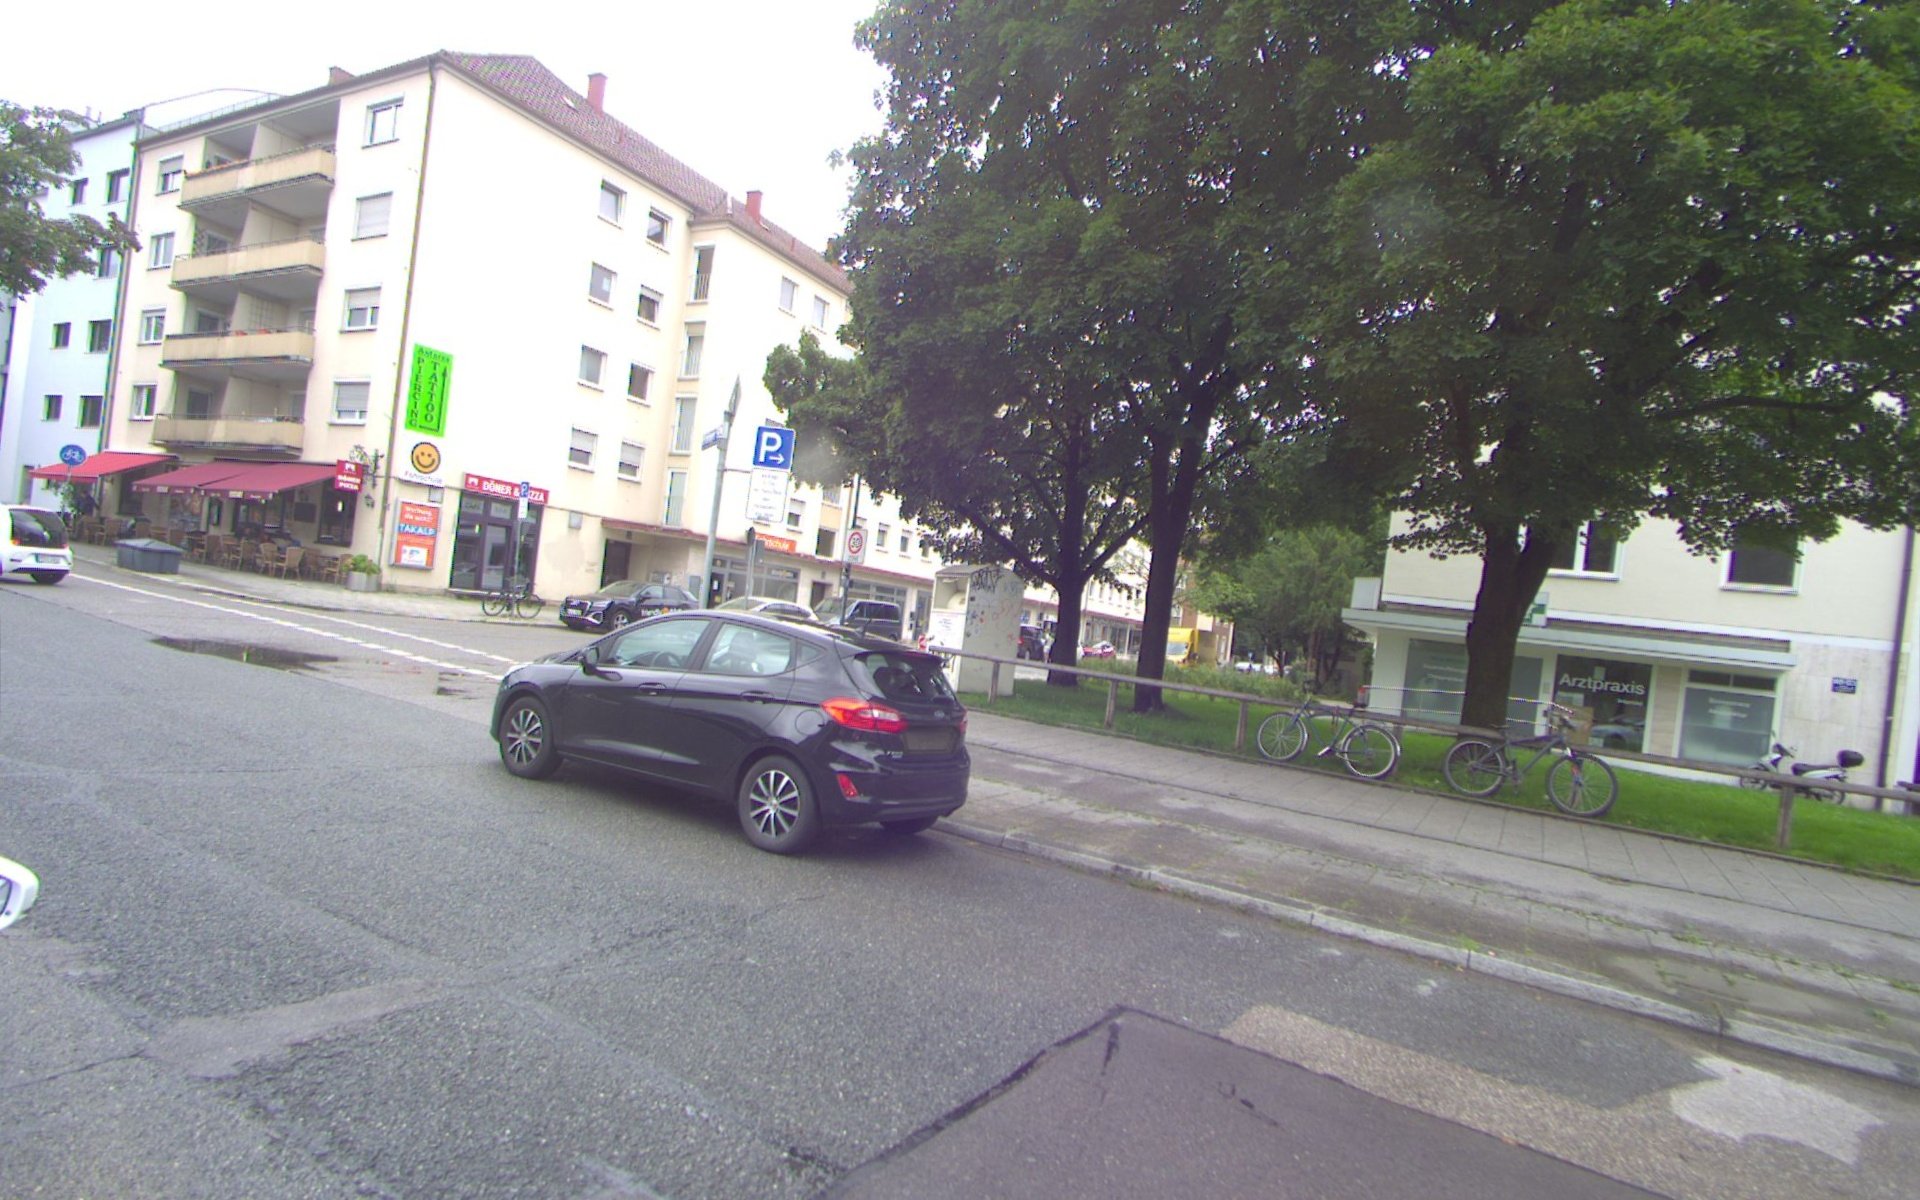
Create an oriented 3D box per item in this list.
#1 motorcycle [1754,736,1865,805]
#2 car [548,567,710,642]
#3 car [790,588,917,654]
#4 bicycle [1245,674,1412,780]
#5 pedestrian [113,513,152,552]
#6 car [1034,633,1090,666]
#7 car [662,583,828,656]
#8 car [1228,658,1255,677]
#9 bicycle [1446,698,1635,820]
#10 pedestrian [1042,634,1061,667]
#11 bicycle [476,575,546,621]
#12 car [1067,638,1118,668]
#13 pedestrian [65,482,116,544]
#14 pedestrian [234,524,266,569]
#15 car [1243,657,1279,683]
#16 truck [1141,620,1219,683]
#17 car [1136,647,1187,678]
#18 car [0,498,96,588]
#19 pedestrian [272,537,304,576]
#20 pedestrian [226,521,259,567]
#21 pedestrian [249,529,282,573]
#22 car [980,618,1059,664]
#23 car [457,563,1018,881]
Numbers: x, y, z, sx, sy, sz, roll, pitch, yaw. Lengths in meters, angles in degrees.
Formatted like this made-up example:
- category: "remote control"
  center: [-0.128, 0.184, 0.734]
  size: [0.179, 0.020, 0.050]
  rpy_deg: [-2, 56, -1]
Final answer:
- category: "motorcycle"
  center: [17.858, 3.572, 21.193]
  size: [1.595, 1.133, 0.605]
  rpy_deg: [7, 0, 32]
- category: "car"
  center: [-8.855, 0.159, 27.220]
  size: [1.701, 1.537, 3.934]
  rpy_deg: [7, -1, 29]
- category: "car"
  center: [-3.821, 0.836, 37.157]
  size: [1.966, 1.907, 4.994]
  rpy_deg: [7, -1, 29]
- category: "bicycle"
  center: [4.639, 1.576, 12.727]
  size: [1.822, 1.027, 0.448]
  rpy_deg: [7, 0, 32]
- category: "pedestrian"
  center: [-27.964, -2.286, 33.999]
  size: [0.636, 1.177, 0.745]
  rpy_deg: [7, 0, 31]
- category: "car"
  center: [5.657, 2.770, 55.641]
  size: [1.573, 1.459, 3.764]
  rpy_deg: [7, -1, 29]
- category: "car"
  center: [-5.713, 0.571, 27.239]
  size: [1.966, 1.459, 4.217]
  rpy_deg: [7, -1, 30]
- category: "car"
  center: [26.923, 6.485, 96.177]
  size: [1.573, 1.459, 3.764]
  rpy_deg: [7, -1, 29]
- category: "bicycle"
  center: [6.599, 1.784, 11.515]
  size: [1.738, 1.067, 0.470]
  rpy_deg: [6, -1, 31]
- category: "pedestrian"
  center: [4.571, 2.519, 50.332]
  size: [0.486, 1.551, 0.733]
  rpy_deg: [7, 0, 31]
- category: "bicycle"
  center: [-11.773, -0.035, 26.400]
  size: [0.545, 1.023, 1.541]
  rpy_deg: [7, -1, 34]
- category: "car"
  center: [7.841, 3.149, 59.428]
  size: [1.573, 1.459, 3.764]
  rpy_deg: [7, -1, 29]
- category: "pedestrian"
  center: [-29.552, -2.952, 34.216]
  size: [0.747, 1.952, 0.871]
  rpy_deg: [7, 0, 15]
- category: "pedestrian"
  center: [-21.815, -1.652, 30.915]
  size: [0.478, 1.283, 0.539]
  rpy_deg: [7, 0, 30]
- category: "car"
  center: [21.877, 5.104, 73.037]
  size: [1.573, 1.638, 3.764]
  rpy_deg: [7, -1, 30]
- category: "truck"
  center: [11.663, 2.780, 52.823]
  size: [2.236, 2.803, 6.765]
  rpy_deg: [7, -1, 26]
- category: "car"
  center: [14.490, 4.487, 72.068]
  size: [1.966, 1.806, 4.994]
  rpy_deg: [7, -1, 29]
- category: "car"
  center: [-18.408, -1.212, 18.457]
  size: [3.375, 1.507, 1.691]
  rpy_deg: [8, -1, -6]
- category: "pedestrian"
  center: [-19.742, -1.276, 29.552]
  size: [0.479, 1.066, 0.539]
  rpy_deg: [7, 0, 31]
- category: "pedestrian"
  center: [-22.502, -1.756, 31.535]
  size: [0.543, 1.355, 0.539]
  rpy_deg: [7, 0, 30]
- category: "pedestrian"
  center: [-20.996, -1.492, 30.418]
  size: [0.479, 1.229, 0.539]
  rpy_deg: [7, 0, 31]
- category: "car"
  center: [3.065, 2.095, 50.396]
  size: [2.117, 1.806, 4.999]
  rpy_deg: [7, -1, 24]
- category: "car"
  center: [-1.746, 0.747, 7.528]
  size: [3.890, 1.494, 1.647]
  rpy_deg: [7, -1, 31]
